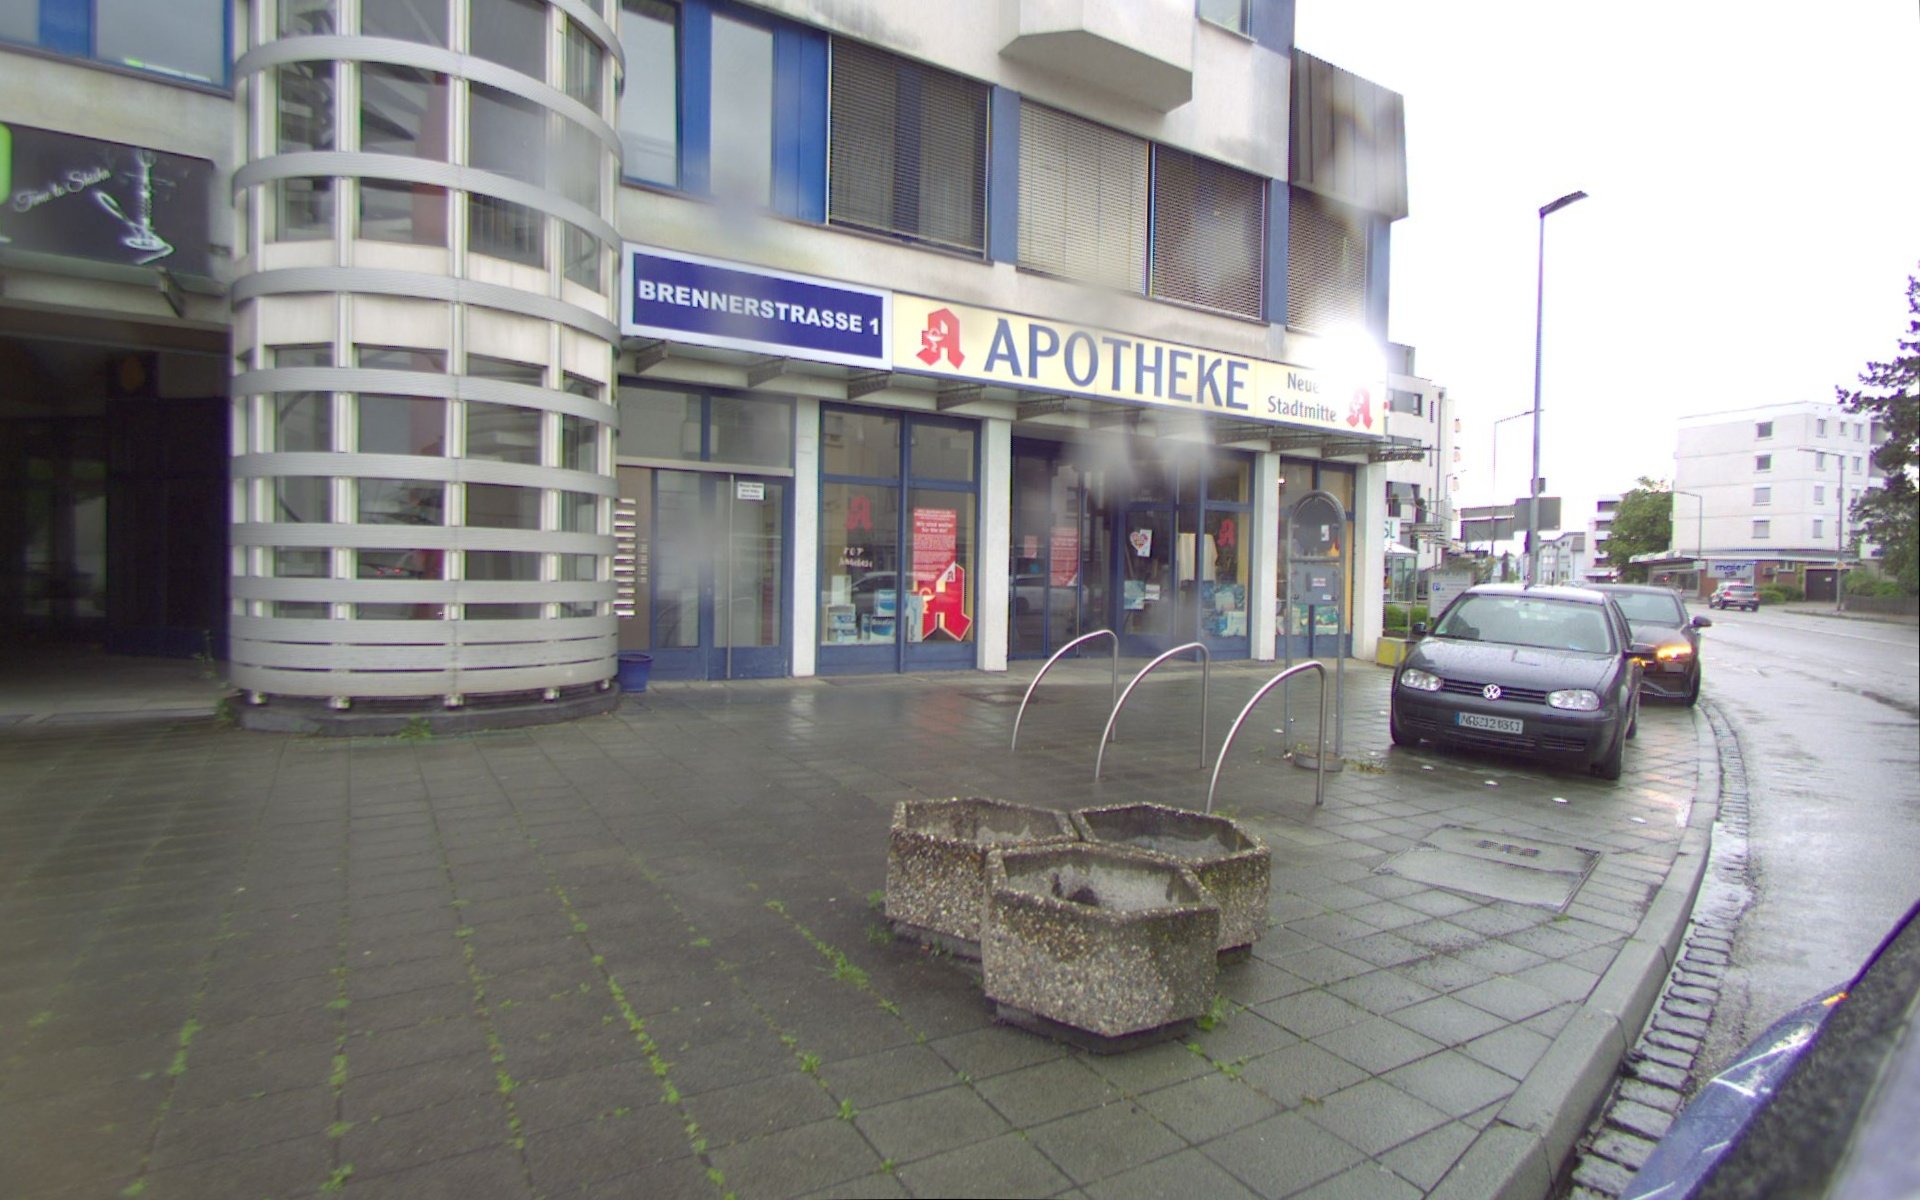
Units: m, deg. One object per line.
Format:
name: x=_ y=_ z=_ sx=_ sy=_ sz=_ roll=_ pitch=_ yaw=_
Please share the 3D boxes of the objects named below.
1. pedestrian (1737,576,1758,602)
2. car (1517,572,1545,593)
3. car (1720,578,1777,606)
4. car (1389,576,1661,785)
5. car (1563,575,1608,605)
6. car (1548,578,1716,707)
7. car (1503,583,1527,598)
pedestrian: x=54.097 y=-0.784 z=69.513 sx=0.845 sy=1.757 sz=0.831 roll=1 pitch=2 yaw=20
car: x=45.434 y=-1.384 z=80.559 sx=1.719 sy=1.547 sz=4.024 roll=2 pitch=1 yaw=28
car: x=43.510 y=-0.487 z=55.922 sx=1.855 sy=1.454 sz=3.704 roll=2 pitch=2 yaw=28
car: x=5.217 y=0.531 z=9.112 sx=1.646 sy=1.388 sz=3.683 roll=5 pitch=4 yaw=36
car: x=33.064 y=-0.568 z=53.590 sx=1.719 sy=1.462 sz=4.008 roll=1 pitch=2 yaw=28
car: x=9.166 y=0.449 z=13.722 sx=1.650 sy=1.442 sz=3.948 roll=2 pitch=2 yaw=36
car: x=55.053 y=-0.987 z=100.490 sx=1.783 sy=1.385 sz=3.941 roll=1 pitch=3 yaw=25
